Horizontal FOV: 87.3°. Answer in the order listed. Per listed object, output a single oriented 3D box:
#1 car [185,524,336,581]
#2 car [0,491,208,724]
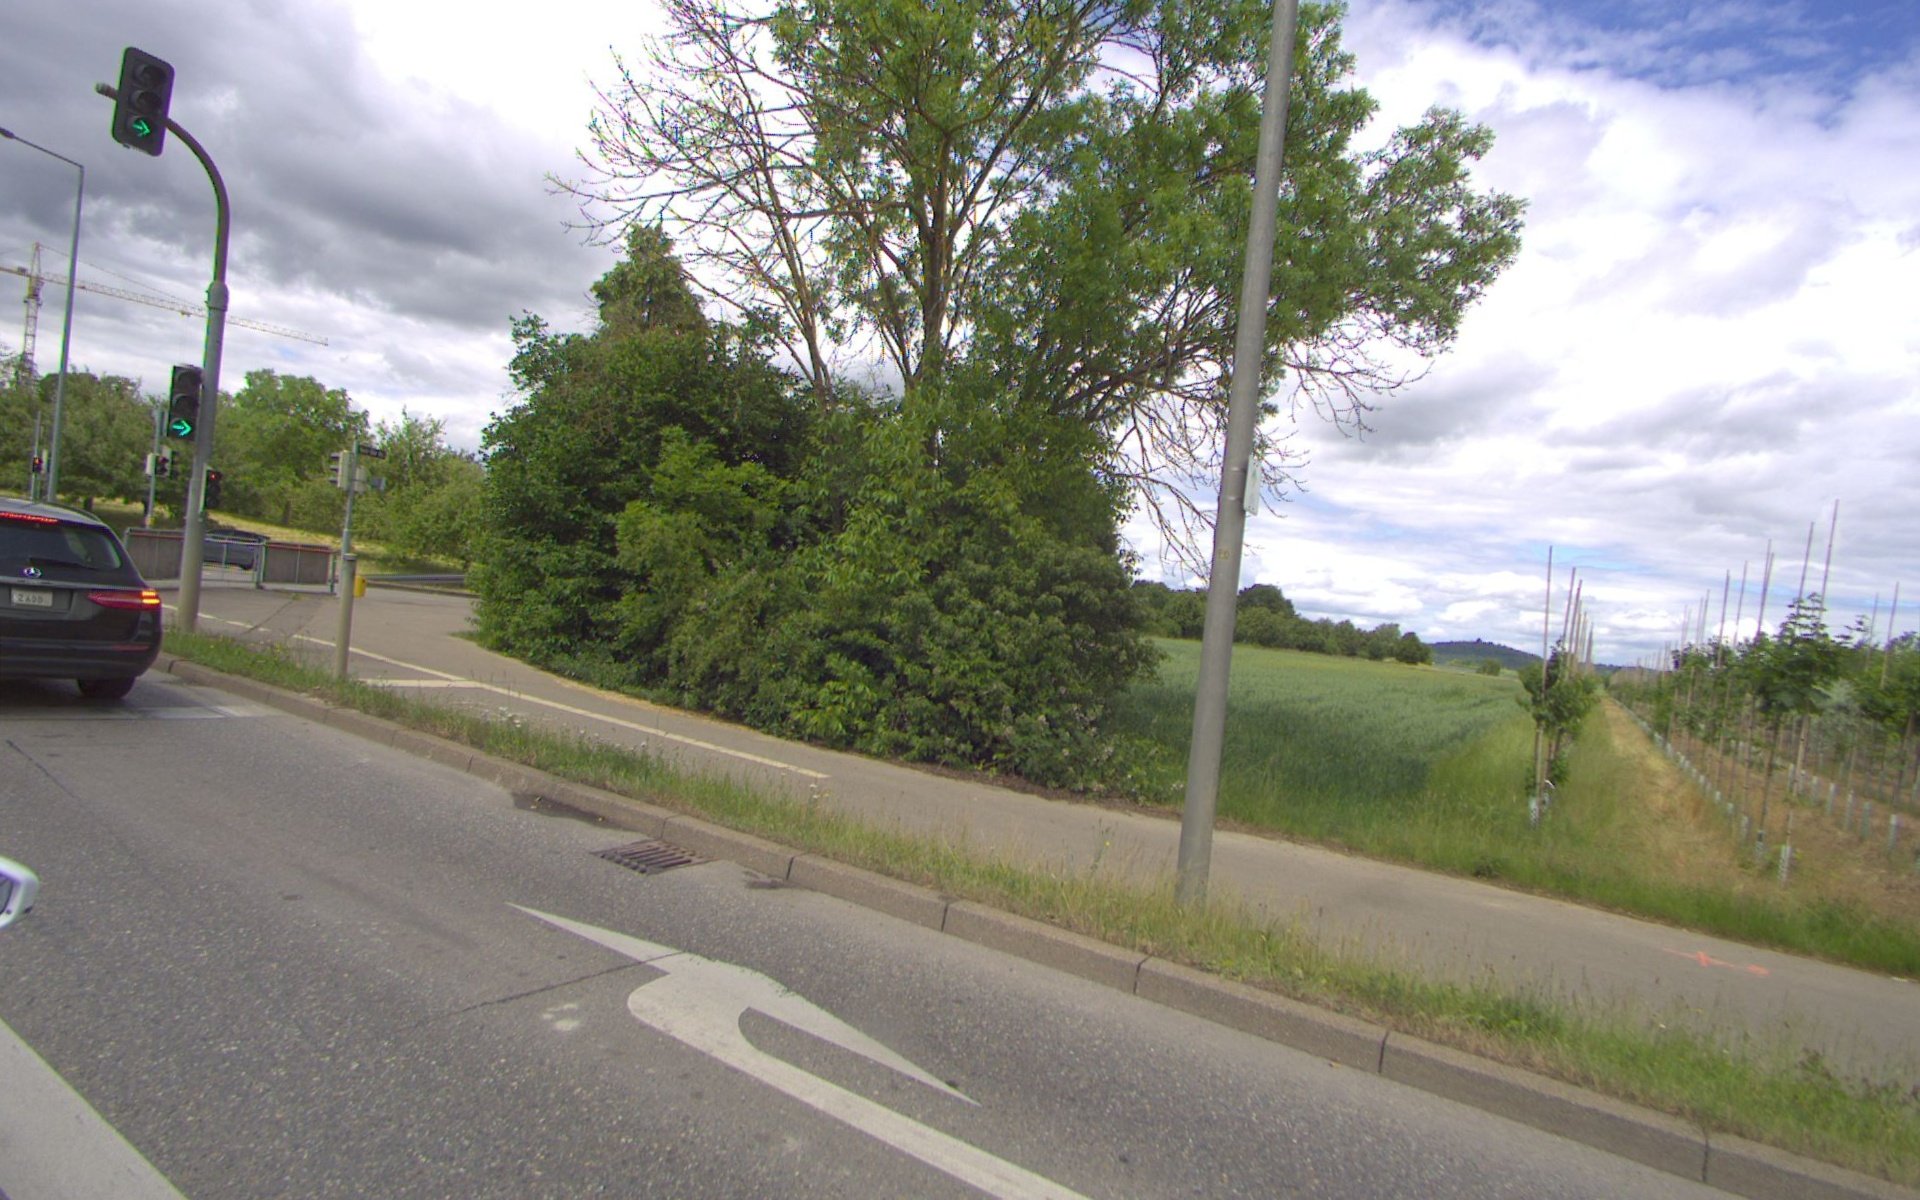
[{"bbox_3d":[-26.476,-1.772,38.155,1.973,1.544,4.297,7,0,42],"label":"car"},{"bbox_3d":[-8.232,-0.182,7.938,5.113,1.459,1.874,7,1,32],"label":"car"}]
